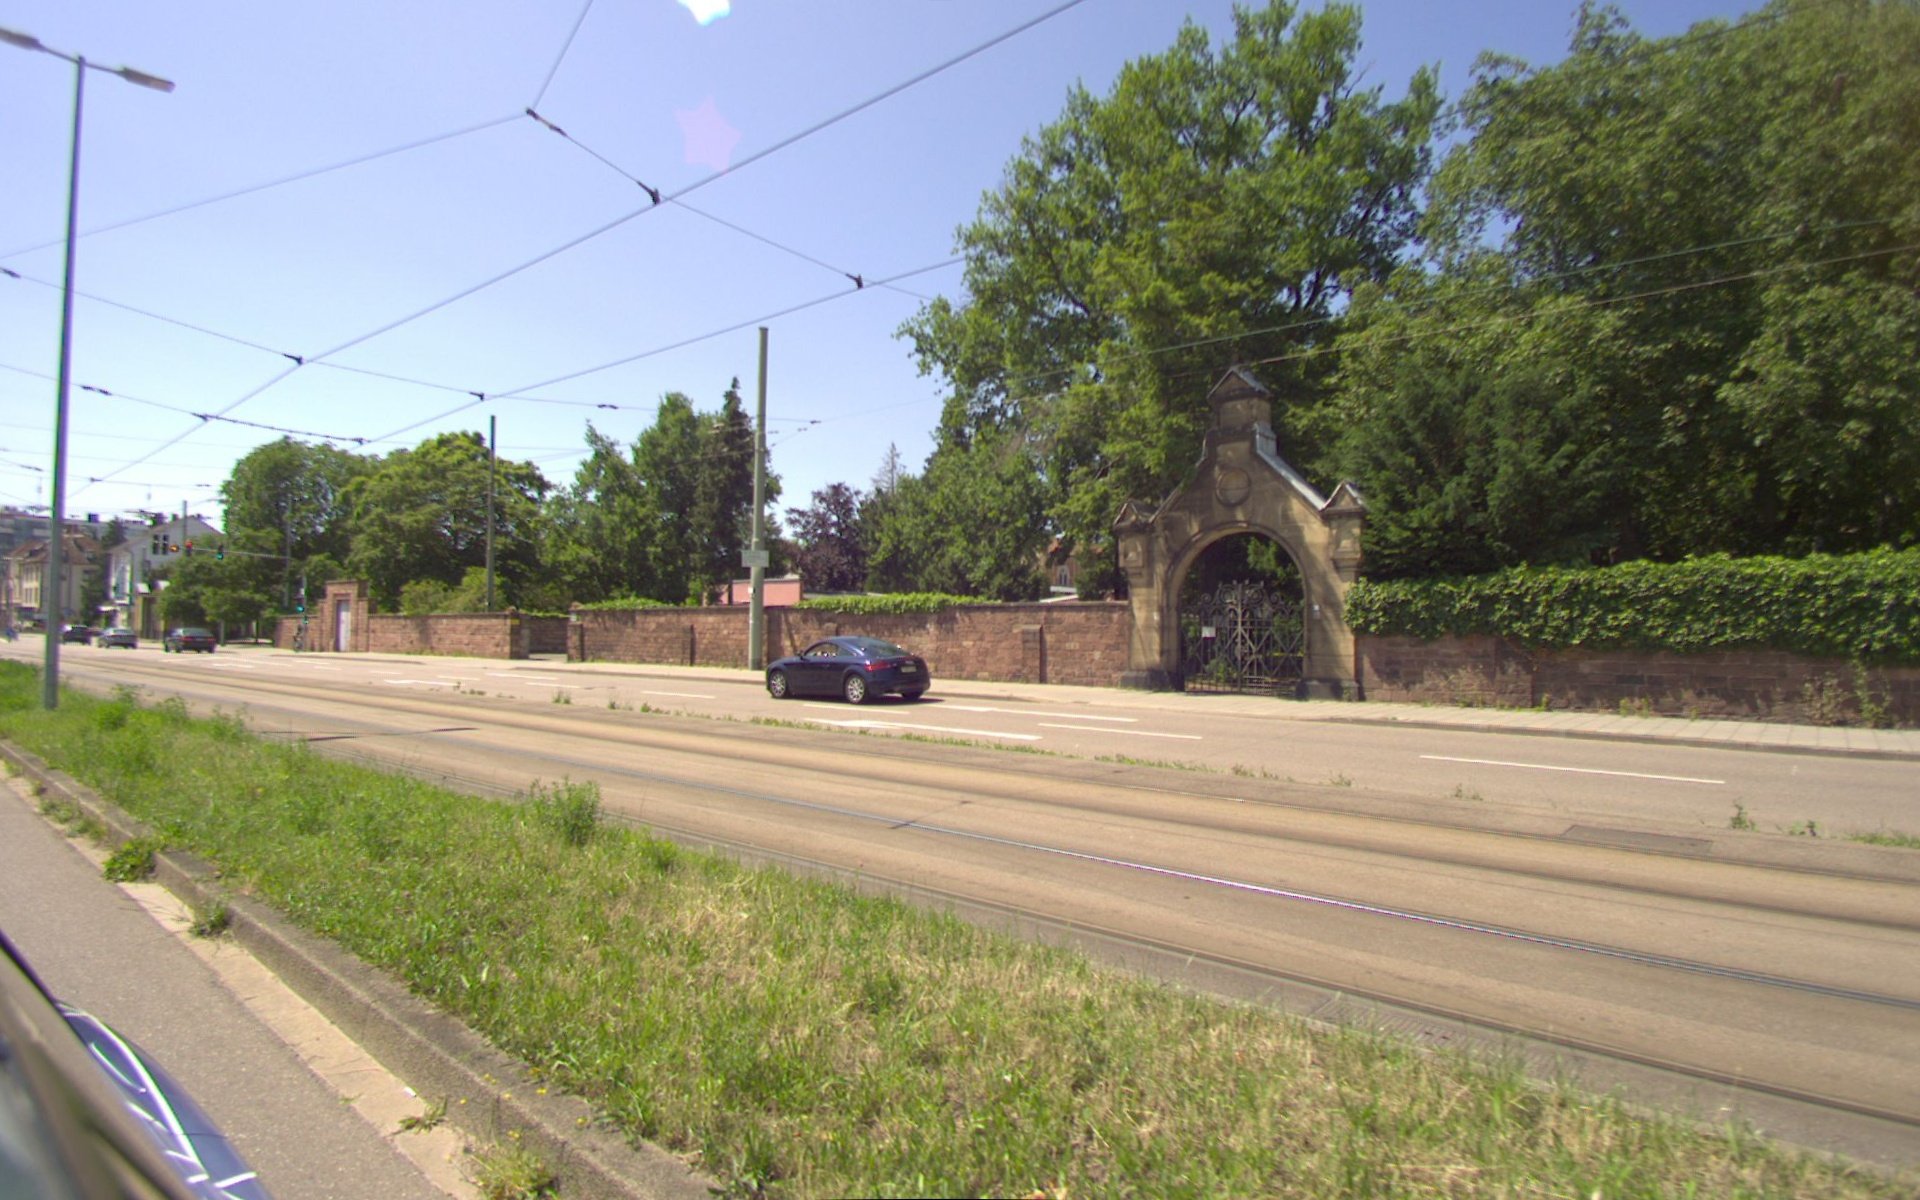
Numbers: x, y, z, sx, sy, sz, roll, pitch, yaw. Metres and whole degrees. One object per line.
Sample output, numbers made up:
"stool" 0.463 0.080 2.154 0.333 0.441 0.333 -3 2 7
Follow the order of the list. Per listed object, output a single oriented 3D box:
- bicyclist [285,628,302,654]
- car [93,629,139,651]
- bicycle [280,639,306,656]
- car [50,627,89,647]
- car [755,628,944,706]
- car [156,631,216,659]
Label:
"bicyclist" -38.295 2.362 58.124 0.662 1.508 0.646 -2 -2 39
"car" -59.683 2.817 71.535 4.708 1.427 1.821 -2 0 41
"bicycle" -38.271 2.736 58.095 2.112 0.964 0.646 -2 -2 40
"car" -73.488 3.066 83.503 4.462 1.567 1.821 -2 -3 41
"car" -2.428 1.356 21.560 4.123 1.459 1.736 -2 -1 43
"car" -44.464 2.557 58.091 5.031 1.427 1.821 -2 0 41
